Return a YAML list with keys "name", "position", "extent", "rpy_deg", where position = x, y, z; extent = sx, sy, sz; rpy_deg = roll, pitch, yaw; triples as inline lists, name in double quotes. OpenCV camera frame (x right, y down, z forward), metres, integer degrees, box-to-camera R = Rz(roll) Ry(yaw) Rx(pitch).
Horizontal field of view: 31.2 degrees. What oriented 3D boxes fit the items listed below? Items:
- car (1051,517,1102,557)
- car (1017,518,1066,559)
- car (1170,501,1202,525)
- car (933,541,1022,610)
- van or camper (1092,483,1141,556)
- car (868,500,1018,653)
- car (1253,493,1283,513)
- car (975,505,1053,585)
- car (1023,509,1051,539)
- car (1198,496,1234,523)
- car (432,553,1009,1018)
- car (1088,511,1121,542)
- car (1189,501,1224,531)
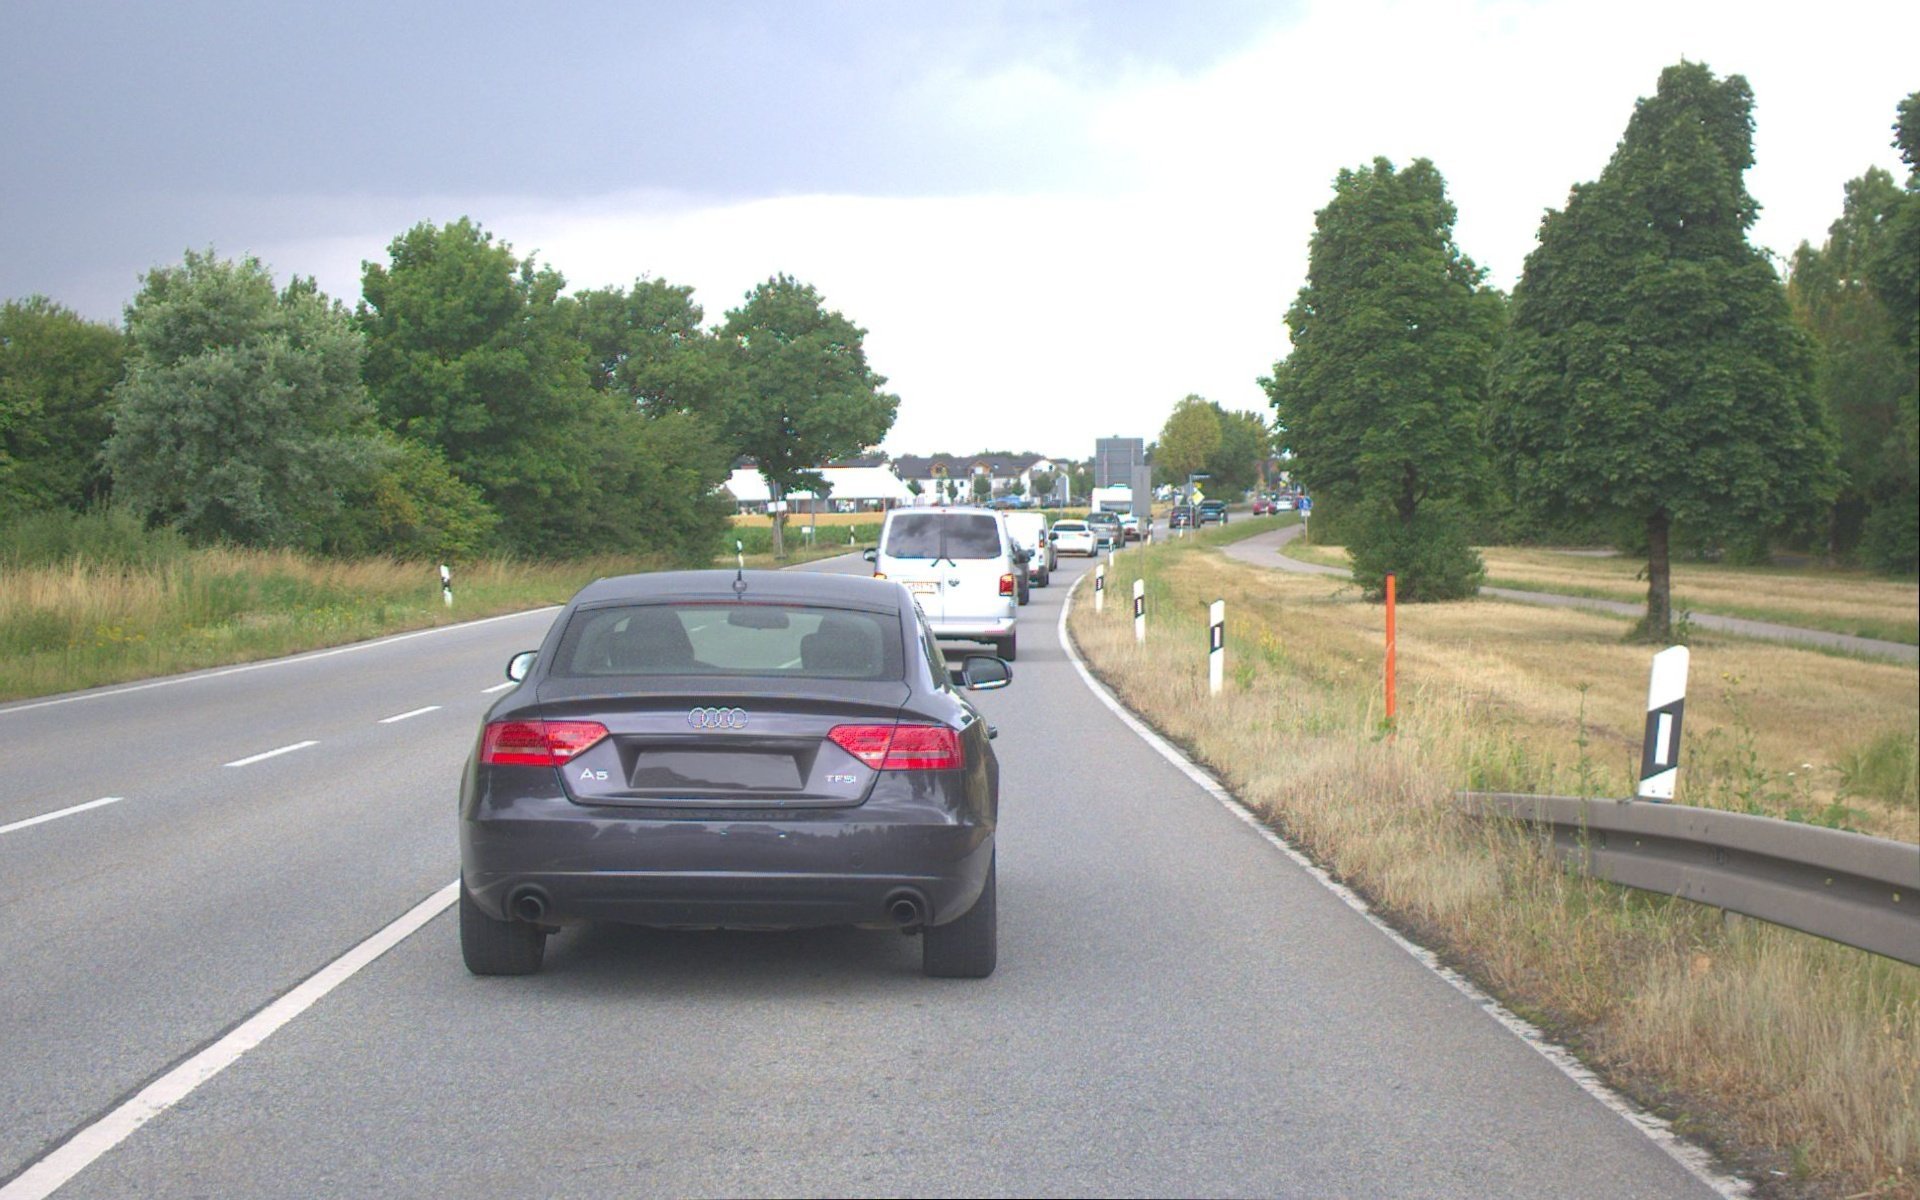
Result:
- name: "car"
  position: [4.441, -2.417, 131.062]
  extent: [1.736, 1.509, 3.746]
  rpy_deg: [0, 1, 5]
- name: "car"
  position: [2.597, -1.967, 109.467]
  extent: [1.535, 1.273, 3.746]
  rpy_deg: [0, 1, 2]
- name: "car"
  position: [13.980, -5.385, 212.891]
  extent: [1.719, 1.446, 4.000]
  rpy_deg: [1, 1, 0]
- name: "car"
  position: [0.396, -0.555, 74.853]
  extent: [1.795, 1.459, 3.248]
  rpy_deg: [0, 1, 3]
- name: "van or camper"
  position: [7.601, -3.912, 167.517]
  extent: [2.340, 3.469, 5.718]
  rpy_deg: [0, 1, 2]
- name: "car"
  position: [-0.246, -0.348, 44.767]
  extent: [1.838, 1.876, 4.001]
  rpy_deg: [1, 2, -1]
- name: "car"
  position: [22.925, -7.215, 255.898]
  extent: [1.821, 1.487, 4.000]
  rpy_deg: [1, 1, 0]
- name: "car"
  position: [1.460, -1.460, 91.191]
  extent: [1.993, 2.081, 4.000]
  rpy_deg: [0, 1, 2]
- name: "car"
  position: [4.682, -4.632, 208.775]
  extent: [1.595, 1.796, 3.201]
  rpy_deg: [1, 1, 0]
- name: "car"
  position: [15.464, -5.441, 207.788]
  extent: [1.821, 1.591, 4.000]
  rpy_deg: [1, 1, 0]
- name: "car"
  position: [-0.786, 0.554, 12.740]
  extent: [1.782, 1.372, 4.001]
  rpy_deg: [1, 2, -1]
- name: "car"
  position: [6.268, -3.172, 148.708]
  extent: [1.258, 1.349, 3.465]
  rpy_deg: [0, 1, 5]
- name: "car"
  position: [16.879, -5.735, 235.663]
  extent: [1.993, 2.007, 4.000]
  rpy_deg: [0, 1, -1]
